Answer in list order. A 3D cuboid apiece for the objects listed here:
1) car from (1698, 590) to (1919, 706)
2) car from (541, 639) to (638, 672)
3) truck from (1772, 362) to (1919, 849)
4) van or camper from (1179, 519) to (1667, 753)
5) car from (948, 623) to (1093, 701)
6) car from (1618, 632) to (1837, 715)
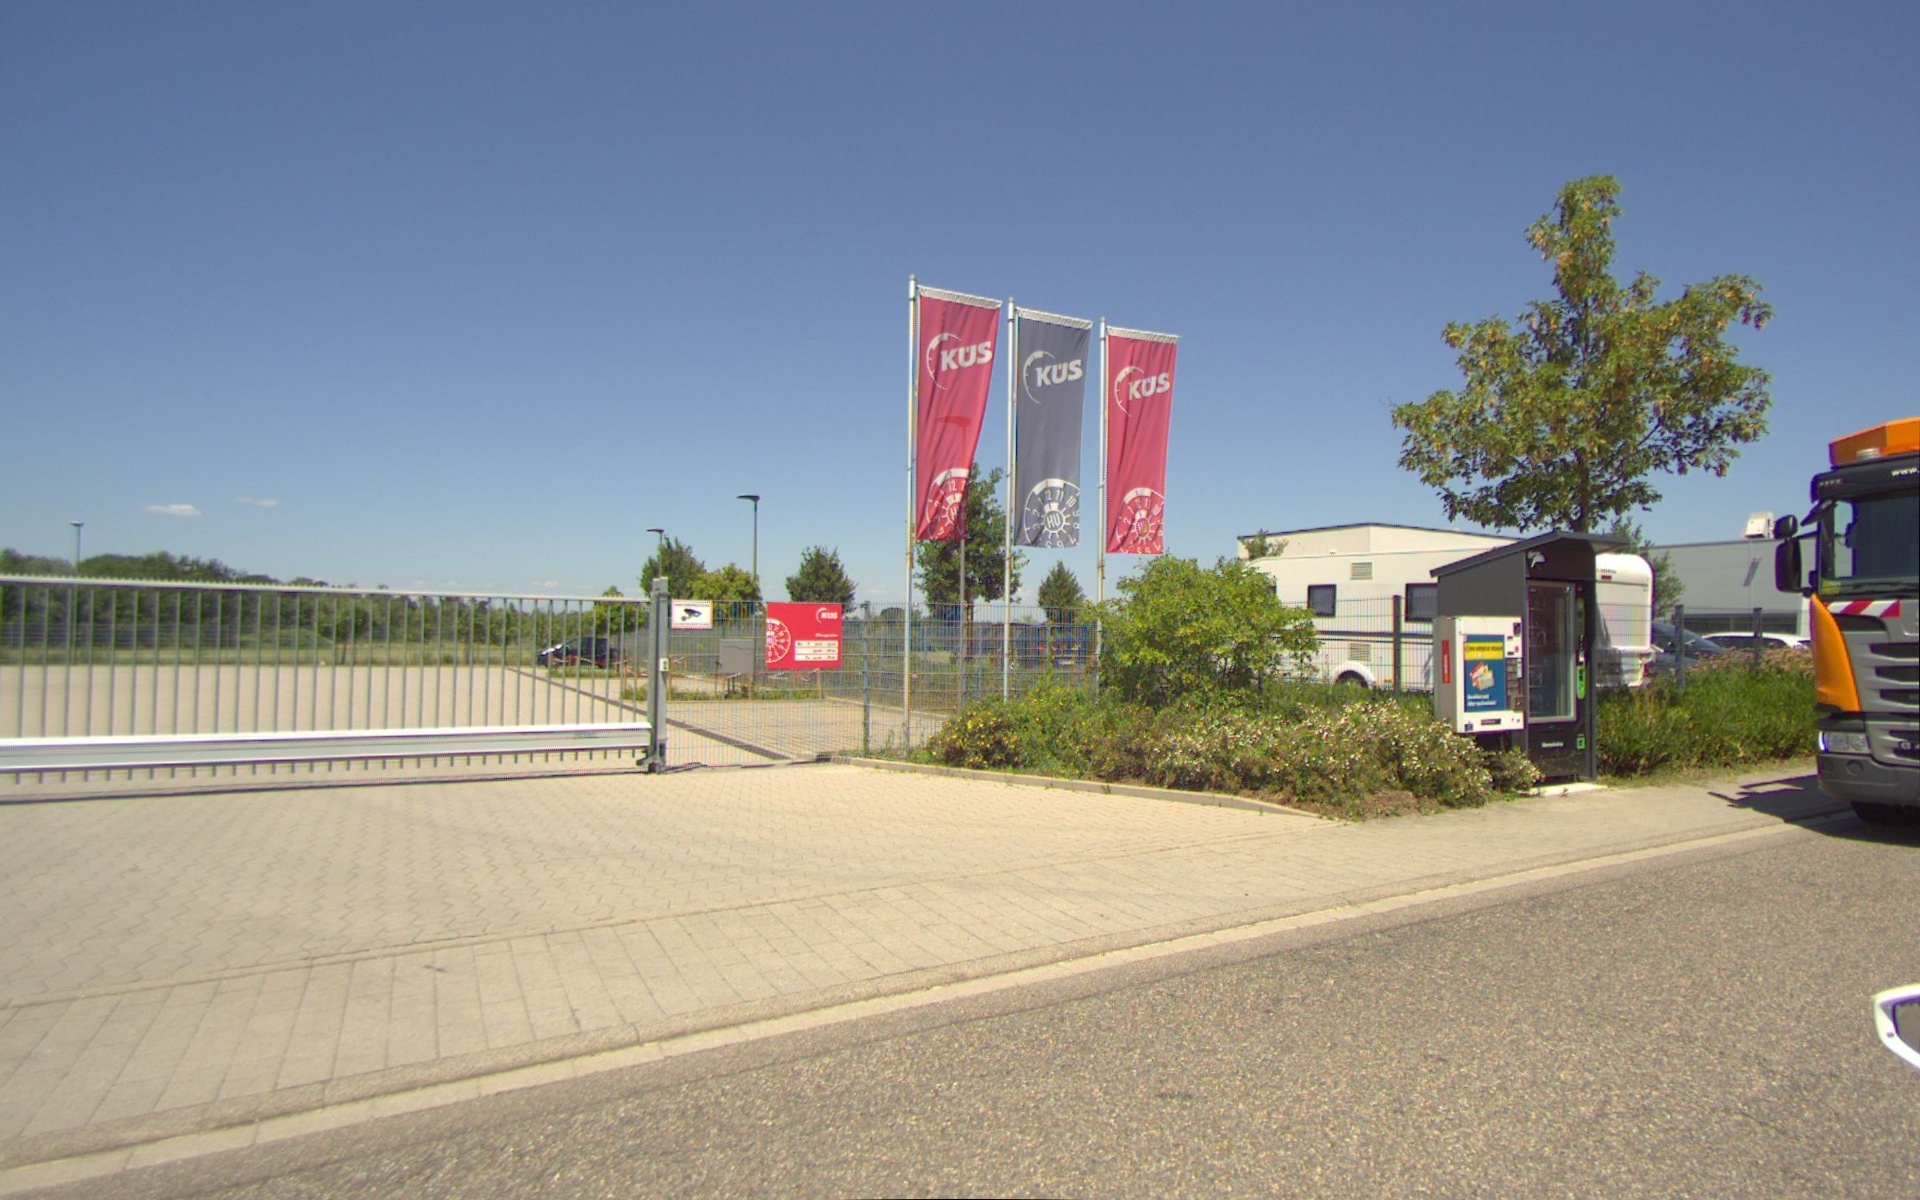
[{"bbox_3d":[21.417,1.173,24.856,1.979,2.620,4.688,2,-3,-33],"label":"car"},{"bbox_3d":[-17.007,2.552,46.169,3.950,1.371,1.939,3,-3,-28],"label":"car"},{"bbox_3d":[10.733,0.099,9.104,8.175,3.559,2.437,1,-3,-31],"label":"truck"},{"bbox_3d":[7.287,0.624,17.148,2.758,3.077,7.350,1,-3,-30],"label":"van or camper"},{"bbox_3d":[1.467,1.559,25.925,1.894,1.839,3.969,2,-3,-30],"label":"car"},{"bbox_3d":[16.478,1.523,21.738,1.482,1.632,3.473,1,-3,-30],"label":"car"}]
